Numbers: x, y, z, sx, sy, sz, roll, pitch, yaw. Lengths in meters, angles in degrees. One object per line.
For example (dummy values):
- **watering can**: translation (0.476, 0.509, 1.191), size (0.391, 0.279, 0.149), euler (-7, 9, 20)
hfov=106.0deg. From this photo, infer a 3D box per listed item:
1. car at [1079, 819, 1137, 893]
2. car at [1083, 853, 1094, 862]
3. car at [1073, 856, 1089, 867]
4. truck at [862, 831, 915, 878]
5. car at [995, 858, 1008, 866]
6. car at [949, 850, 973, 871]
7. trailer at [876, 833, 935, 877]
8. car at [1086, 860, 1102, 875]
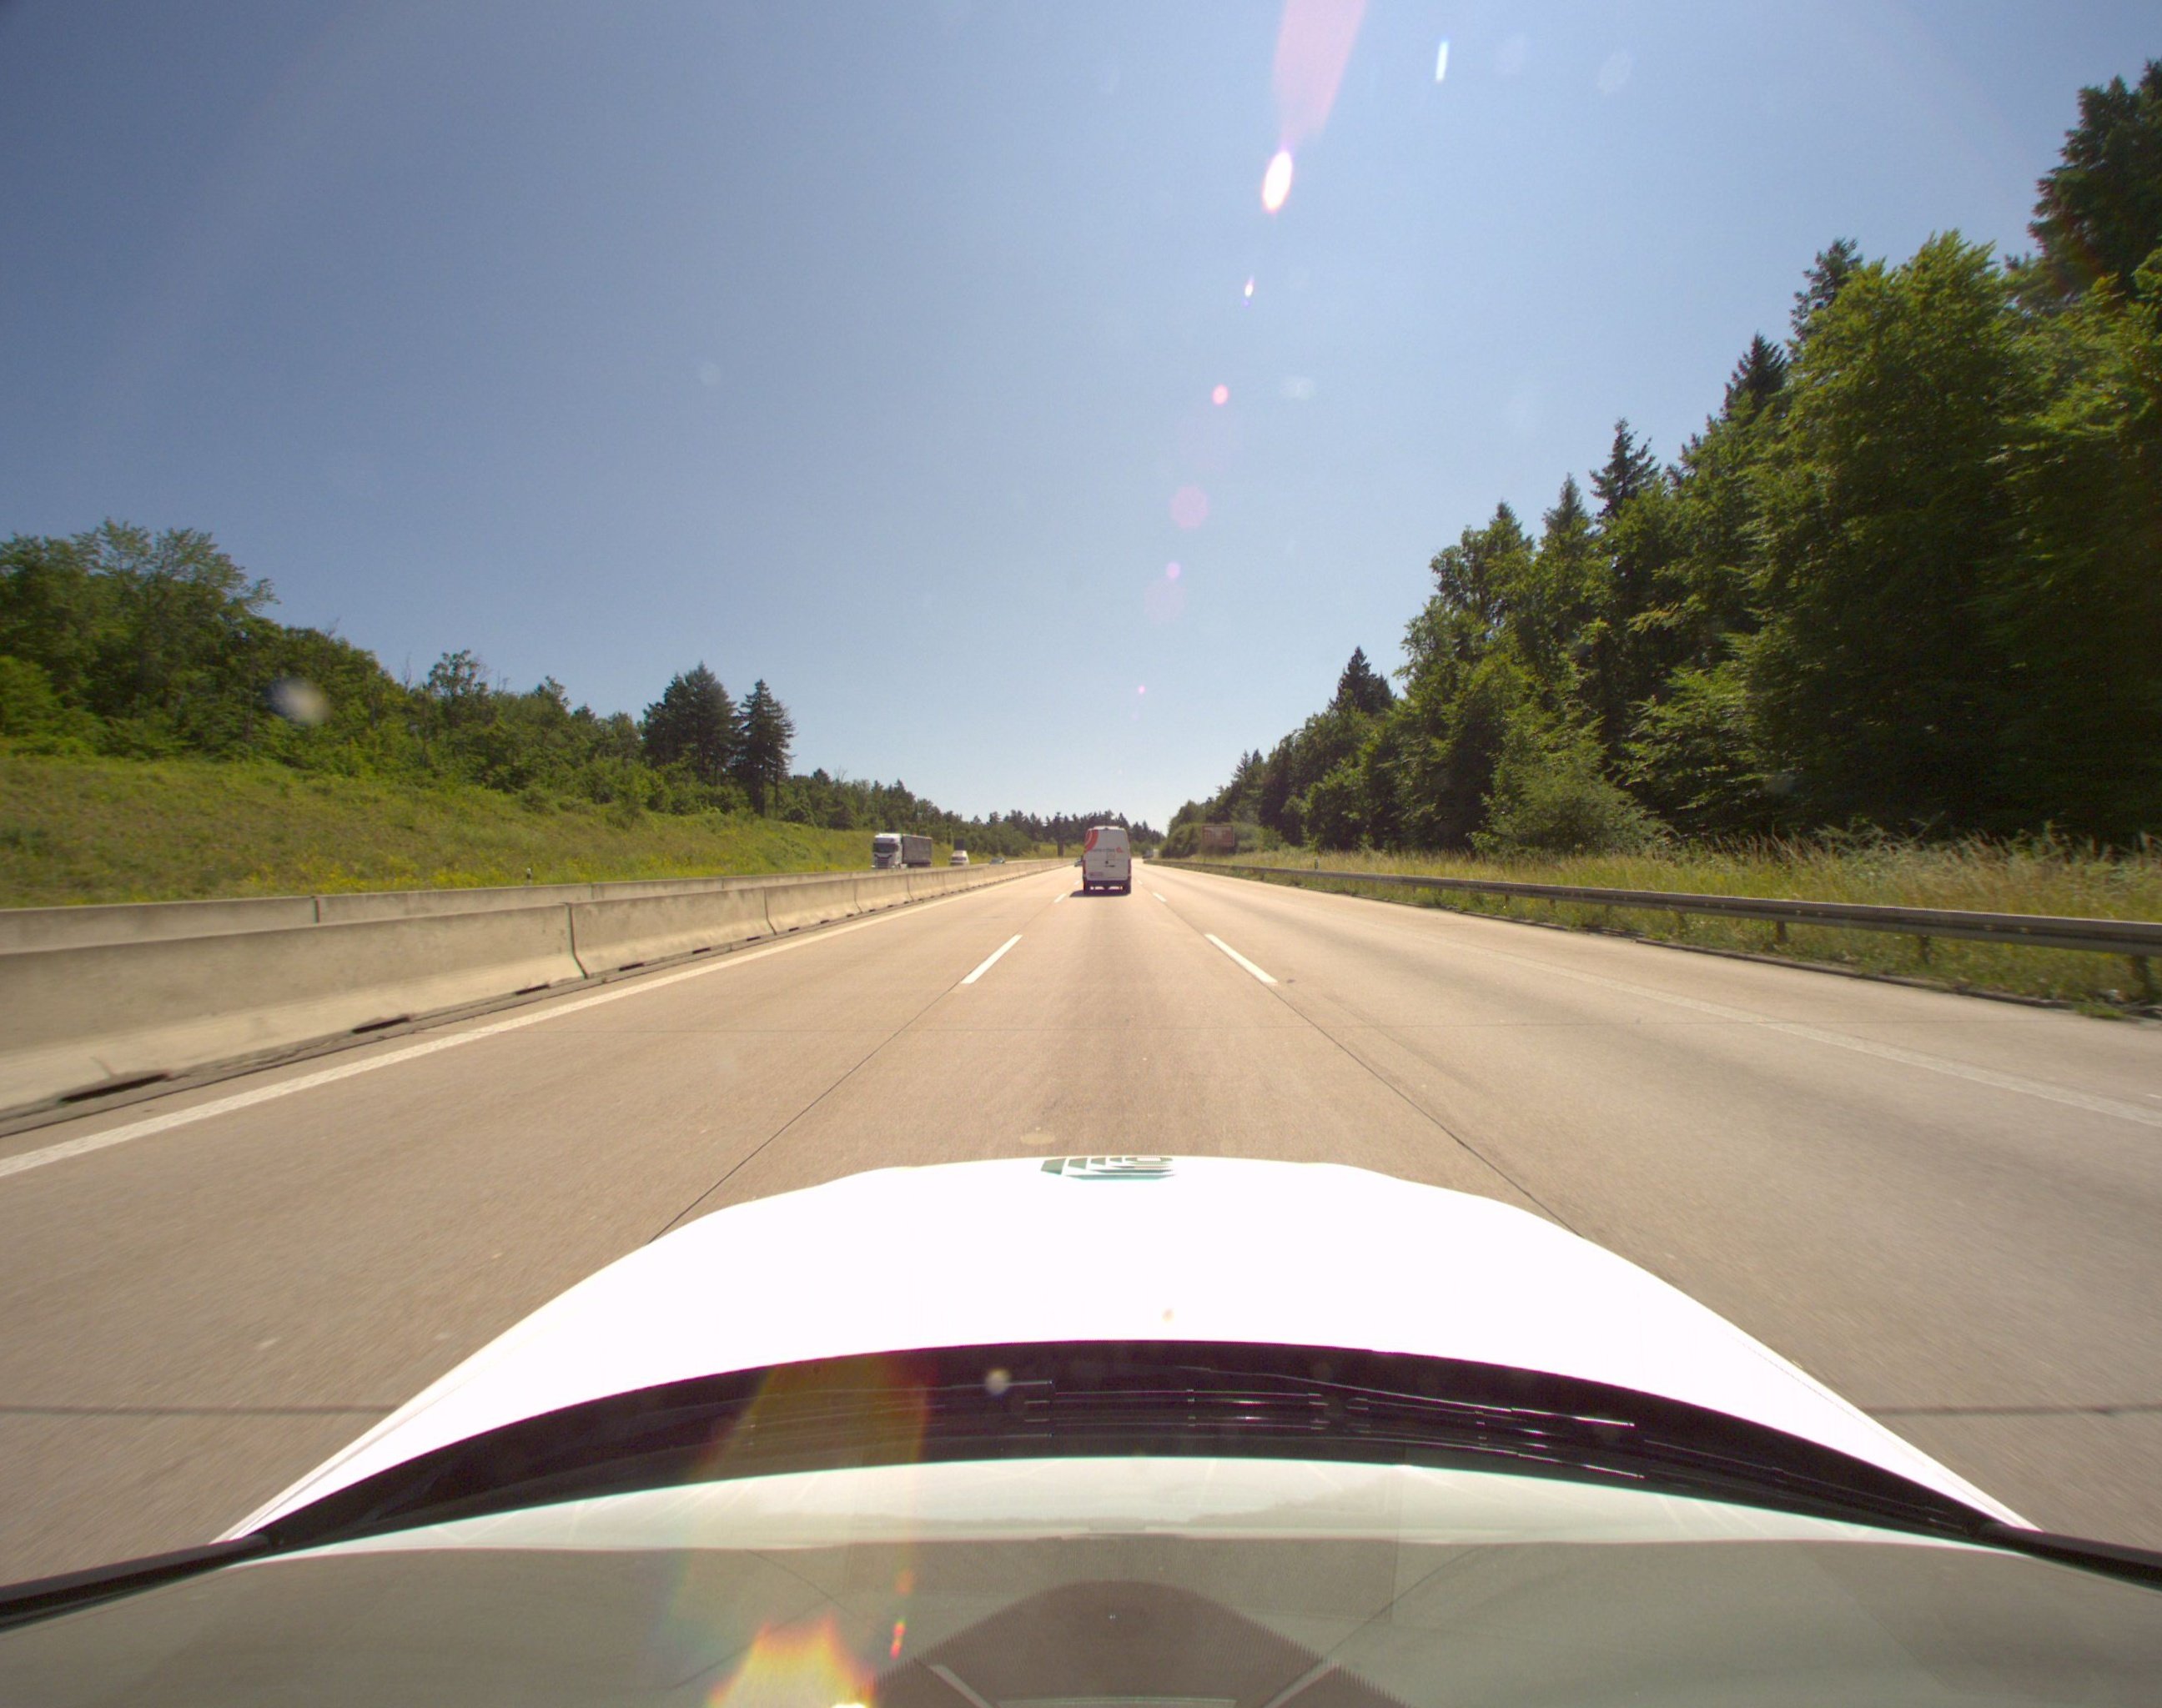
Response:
- **car**: translation (1.102, 0.068, 34.317), size (2.218, 2.844, 5.455), euler (-1, 0, 1)
- **car**: translation (1.561, 0.759, 174.634), size (1.984, 1.684, 4.006), euler (-1, -1, 6)
- **car**: translation (0.014, 1.111, 125.039), size (1.984, 1.684, 4.006), euler (-1, -1, 6)
- **truck**: translation (-19.728, 0.085, 83.836), size (3.244, 4.505, 7.988), euler (-1, -1, 2)
- **car**: translation (-16.261, 1.673, 166.200), size (1.986, 1.583, 4.044), euler (-1, -1, 2)
- **car**: translation (-14.629, 0.748, 99.750), size (1.986, 2.486, 5.181), euler (0, 0, 2)
- **trailer**: translation (-19.429, 0.160, 91.266), size (3.244, 4.504, 13.125), euler (-1, -1, 2)
- **car**: translation (1.668, 1.736, 102.984), size (1.986, 1.794, 4.001), euler (-1, -1, 1)
